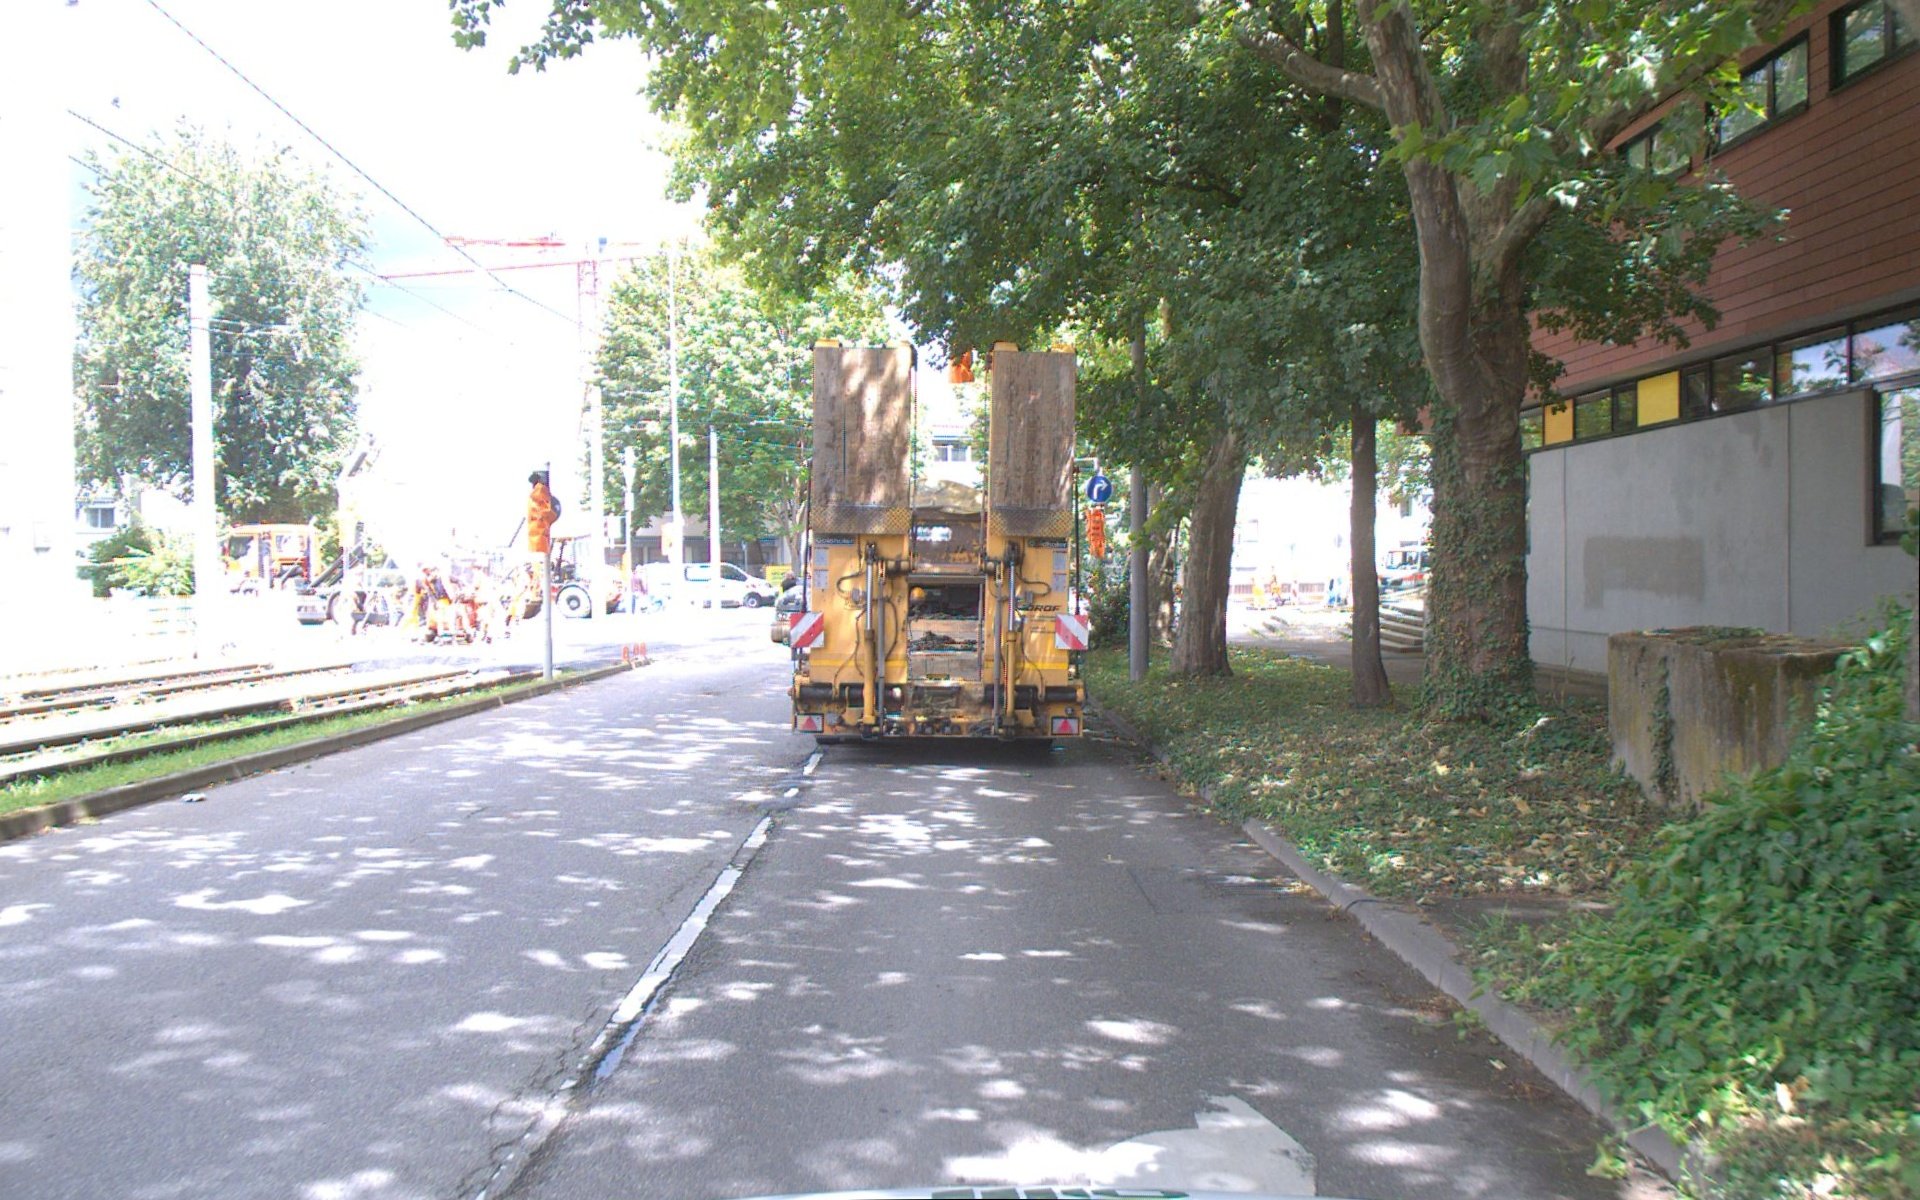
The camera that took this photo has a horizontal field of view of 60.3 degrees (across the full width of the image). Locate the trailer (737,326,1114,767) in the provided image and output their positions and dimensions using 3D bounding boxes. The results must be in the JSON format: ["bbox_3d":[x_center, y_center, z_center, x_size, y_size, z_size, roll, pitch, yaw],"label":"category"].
[{"bbox_3d":[-0.262,-0.472,19.188,3.089,3.614,11.097,0,0,0],"label":"trailer"}]

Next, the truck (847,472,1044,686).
[{"bbox_3d":[-0.137,-0.336,28.711,2.927,3.190,7.889,0,0,1],"label":"truck"}]

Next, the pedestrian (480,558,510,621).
[{"bbox_3d":[-14.084,-0.326,50.133,0.820,1.900,0.885,0,0,-12],"label":"pedestrian"}]

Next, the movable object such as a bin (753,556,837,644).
[{"bbox_3d":[-3.971,-0.017,40.056,1.369,2.049,2.558,1,0,10],"label":"movable object such as a bin"}]

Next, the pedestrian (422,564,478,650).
[{"bbox_3d":[-10.880,0.143,35.306,0.867,1.791,0.837,0,0,4],"label":"pedestrian"}]

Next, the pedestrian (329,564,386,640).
[{"bbox_3d":[-13.533,0.038,37.155,0.819,1.673,0.886,1,0,30],"label":"pedestrian"}]

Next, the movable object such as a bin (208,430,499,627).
[{"bbox_3d":[-18.163,-2.038,49.371,9.021,5.509,2.662,0,0,26],"label":"movable object such as a bin"}]

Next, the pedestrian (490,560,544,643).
[{"bbox_3d":[-10.288,0.028,38.392,0.868,1.900,0.836,1,0,28],"label":"pedestrian"}]

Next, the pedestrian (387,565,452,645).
[{"bbox_3d":[-12.052,0.108,36.869,0.873,1.745,1.103,1,0,45],"label":"pedestrian"}]

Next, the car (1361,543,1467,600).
[{"bbox_3d":[19.697,-1.222,71.767,4.191,2.406,2.138,0,0,-28],"label":"car"}]

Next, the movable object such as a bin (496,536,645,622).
[{"bbox_3d":[-12.628,-0.688,53.603,4.281,2.675,2.218,0,0,26],"label":"movable object such as a bin"}]

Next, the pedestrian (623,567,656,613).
[{"bbox_3d":[-10.063,-0.321,51.982,0.898,1.433,0.752,0,0,-3],"label":"pedestrian"}]

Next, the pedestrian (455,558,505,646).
[{"bbox_3d":[-10.545,0.033,36.333,0.876,1.900,0.829,0,0,-29],"label":"pedestrian"}]

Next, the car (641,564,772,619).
[{"bbox_3d":[-10.120,-0.323,65.961,5.005,2.139,1.969,0,0,-15],"label":"car"}]

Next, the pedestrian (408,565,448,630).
[{"bbox_3d":[-13.897,-0.061,43.220,0.869,1.673,0.898,0,0,-10],"label":"pedestrian"}]
